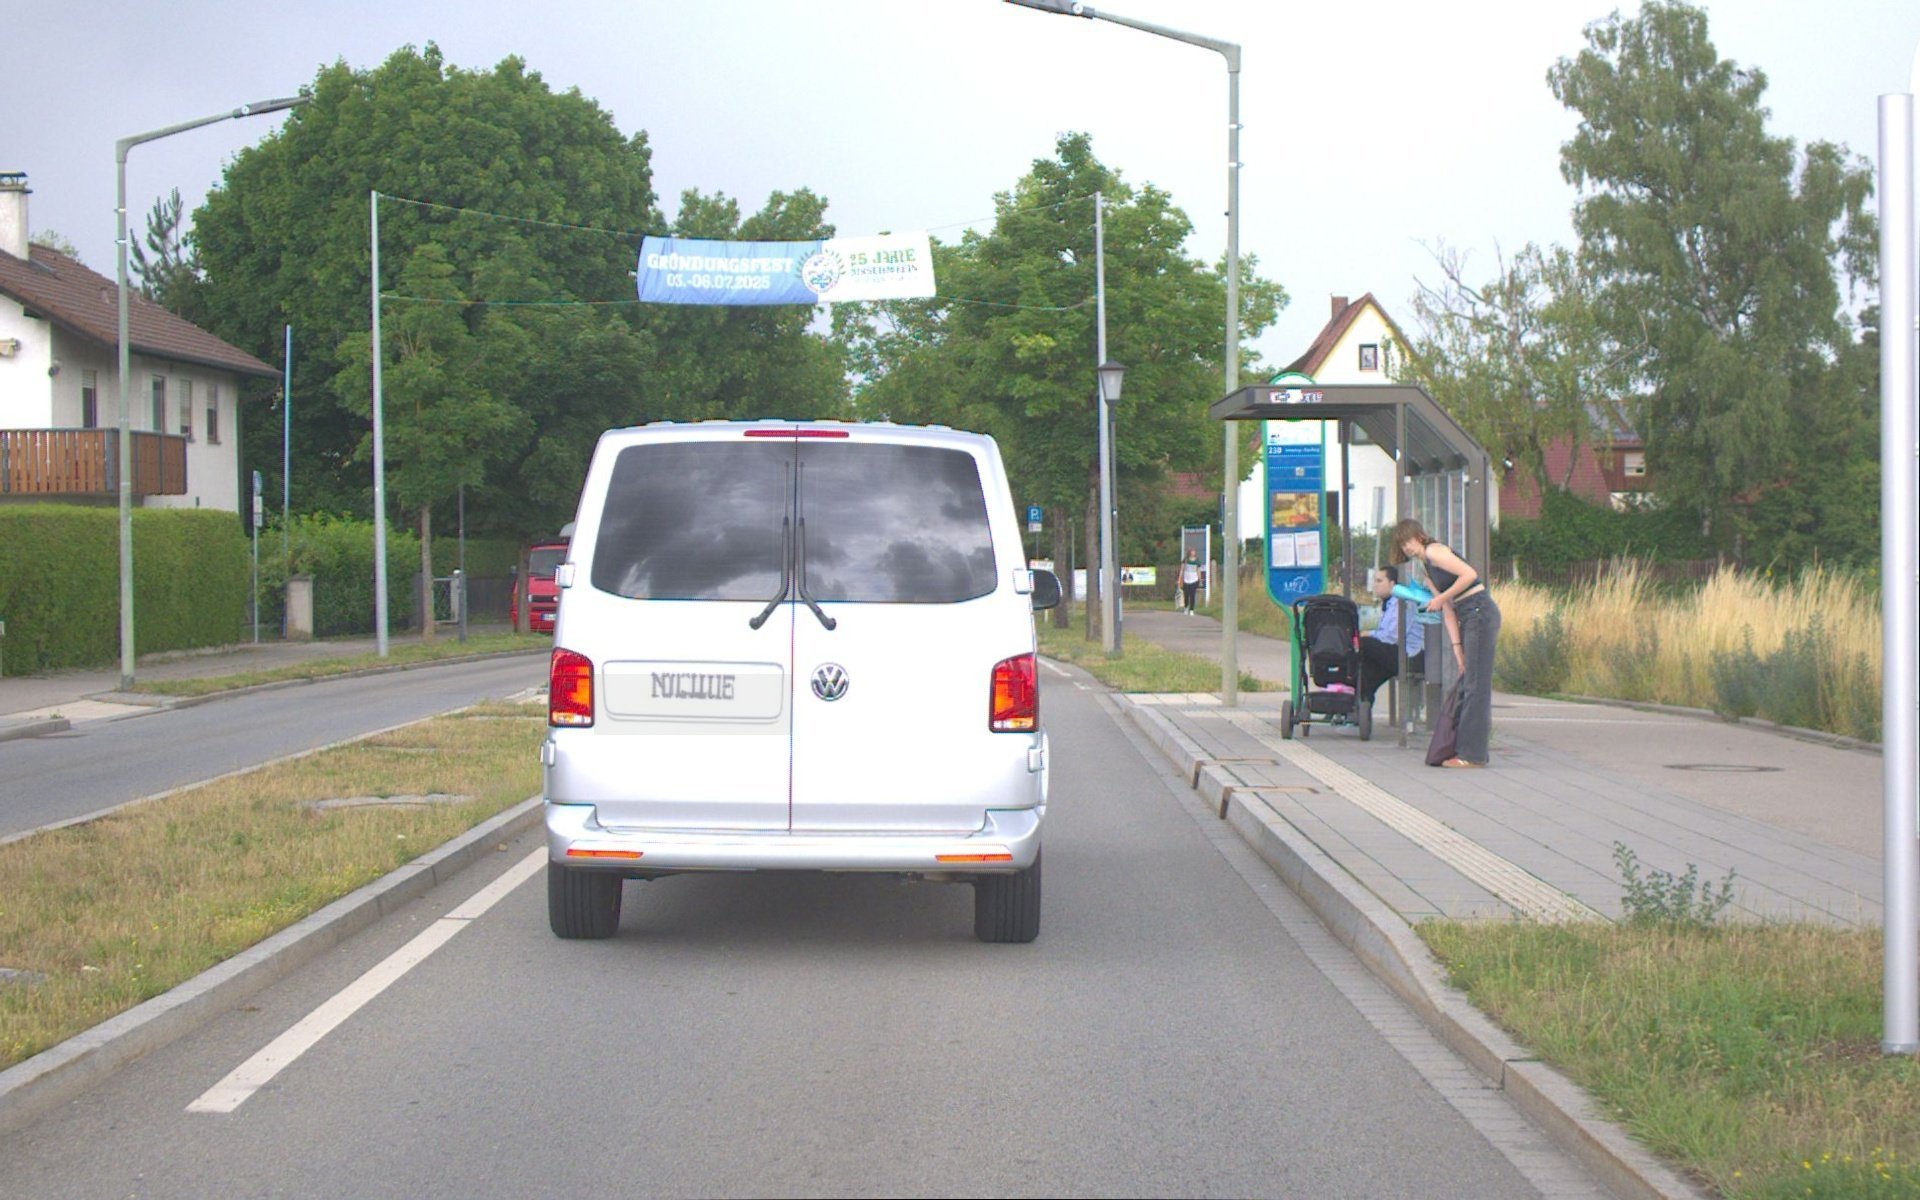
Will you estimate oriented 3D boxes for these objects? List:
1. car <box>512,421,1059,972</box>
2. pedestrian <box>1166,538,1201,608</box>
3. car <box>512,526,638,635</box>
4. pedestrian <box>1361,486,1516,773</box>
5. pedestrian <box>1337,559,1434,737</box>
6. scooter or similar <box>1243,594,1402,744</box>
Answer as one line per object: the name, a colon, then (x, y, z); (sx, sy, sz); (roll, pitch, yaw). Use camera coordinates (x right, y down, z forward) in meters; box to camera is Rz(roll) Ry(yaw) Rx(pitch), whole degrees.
car: (-0.642, 0.326, 13.985); (1.888, 1.905, 4.000); (1, 0, -1)
pedestrian: (5.575, -0.672, 85.708); (0.837, 1.749, 0.869); (0, 0, 4)
car: (-7.501, -0.411, 67.352); (1.830, 2.023, 5.046); (1, 1, 0)
pedestrian: (3.075, 0.184, 22.059); (0.782, 1.786, 0.778); (2, 0, 21)
pedestrian: (3.178, 0.353, 25.659); (0.665, 1.298, 0.505); (2, 0, 9)
scooter or similar: (2.670, 0.502, 25.283); (0.708, 1.058, 1.058); (1, 0, 36)
